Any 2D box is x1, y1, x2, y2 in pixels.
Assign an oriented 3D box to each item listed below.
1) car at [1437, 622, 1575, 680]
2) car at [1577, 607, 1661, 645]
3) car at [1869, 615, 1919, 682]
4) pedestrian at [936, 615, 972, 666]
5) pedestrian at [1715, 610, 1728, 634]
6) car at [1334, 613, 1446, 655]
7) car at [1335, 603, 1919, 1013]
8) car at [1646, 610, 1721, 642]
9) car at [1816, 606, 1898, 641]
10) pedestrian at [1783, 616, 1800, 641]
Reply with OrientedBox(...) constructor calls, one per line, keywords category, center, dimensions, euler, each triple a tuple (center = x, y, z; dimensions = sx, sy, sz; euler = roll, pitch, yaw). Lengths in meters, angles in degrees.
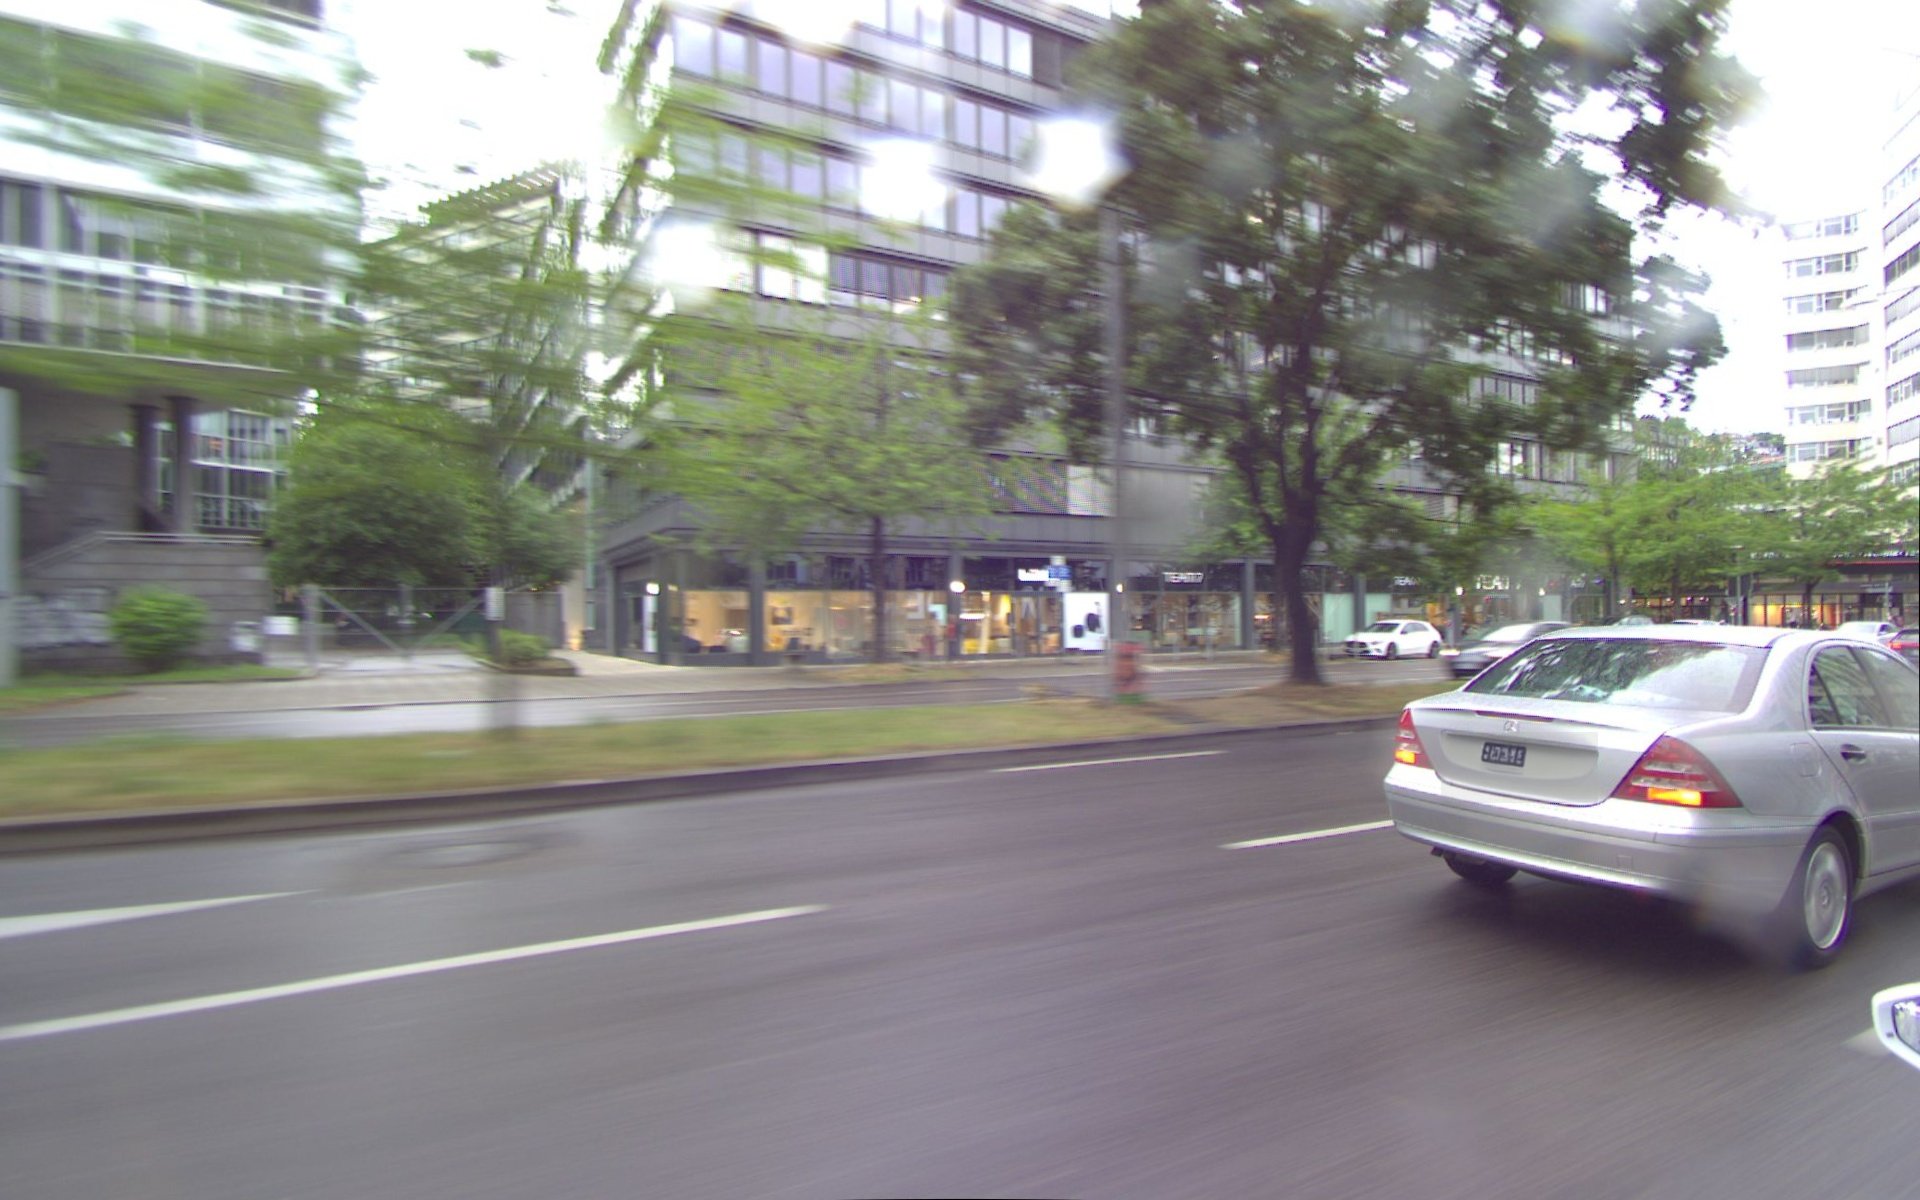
OrientedBox(category="car", center=(13.534, 1.233, 24.862), dimensions=(3.582, 1.328, 1.613), euler=(1, -2, -35))
OrientedBox(category="car", center=(29.956, 1.165, 45.638), dimensions=(4.185, 1.632, 1.614), euler=(0, 0, -32))
OrientedBox(category="car", center=(22.667, 1.100, 23.116), dimensions=(3.960, 1.476, 1.763), euler=(1, -2, -35))
OrientedBox(category="pedestrian", center=(-0.206, 1.403, 34.853), dimensions=(1.045, 1.738, 0.739), euler=(0, -1, -31))
OrientedBox(category="pedestrian", center=(49.291, 1.441, 65.009), dimensions=(0.591, 1.523, 0.437), euler=(0, 0, 22))
OrientedBox(category="car", center=(15.951, 1.257, 37.207), dimensions=(4.397, 1.451, 1.615), euler=(1, -2, -32))
OrientedBox(category="car", center=(4.182, 0.788, 5.500), dimensions=(4.309, 1.499, 1.664), euler=(1, 0, -30))
OrientedBox(category="car", center=(35.140, 1.251, 48.768), dimensions=(3.919, 1.480, 1.614), euler=(0, 0, -32))
OrientedBox(category="car", center=(40.307, 1.072, 45.121), dimensions=(4.259, 1.512, 1.615), euler=(1, -2, -32))
OrientedBox(category="pedestrian", center=(58.190, 2.008, 70.288), dimensions=(0.739, 1.736, 0.593), euler=(0, 0, 22))
